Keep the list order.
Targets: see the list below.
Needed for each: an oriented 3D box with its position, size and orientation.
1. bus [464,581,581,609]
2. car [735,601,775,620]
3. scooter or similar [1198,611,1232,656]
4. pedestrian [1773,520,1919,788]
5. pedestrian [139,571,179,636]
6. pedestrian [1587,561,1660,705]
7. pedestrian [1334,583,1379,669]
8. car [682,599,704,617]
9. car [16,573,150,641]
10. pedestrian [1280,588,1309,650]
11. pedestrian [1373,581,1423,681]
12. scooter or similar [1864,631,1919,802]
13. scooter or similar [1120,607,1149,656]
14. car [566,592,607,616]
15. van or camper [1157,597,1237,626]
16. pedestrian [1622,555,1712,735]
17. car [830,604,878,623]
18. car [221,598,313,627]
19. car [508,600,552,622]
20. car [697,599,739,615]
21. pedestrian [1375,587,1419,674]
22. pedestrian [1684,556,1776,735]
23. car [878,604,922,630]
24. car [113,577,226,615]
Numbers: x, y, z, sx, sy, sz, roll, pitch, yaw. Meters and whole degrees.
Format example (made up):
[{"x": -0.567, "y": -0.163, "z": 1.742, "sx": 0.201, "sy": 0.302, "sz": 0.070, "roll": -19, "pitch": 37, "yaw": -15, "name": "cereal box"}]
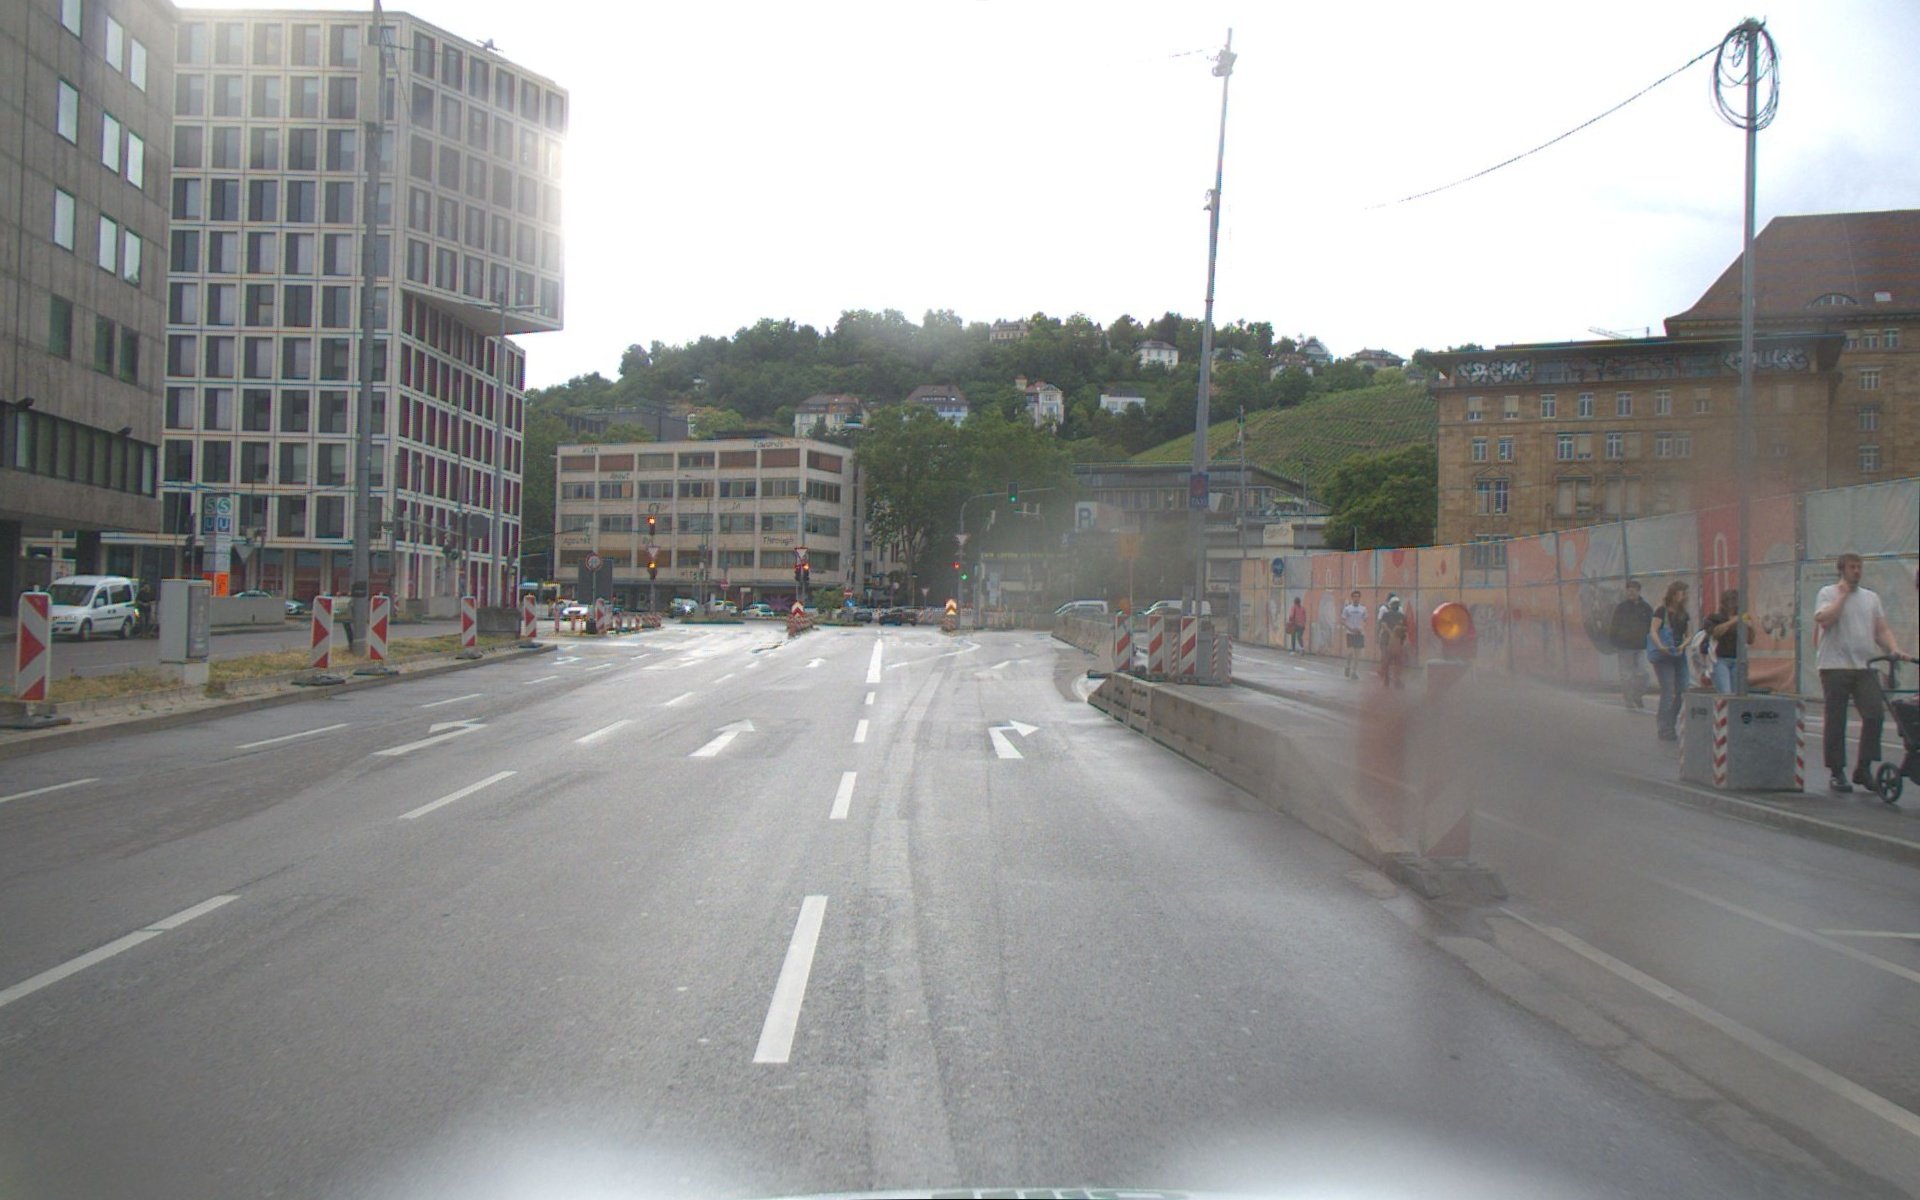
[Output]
[{"x": -46.637, "y": -0.543, "z": 175.964, "sx": 13.668, "sy": 2.799, "sz": 3.206, "roll": 1, "pitch": 0, "yaw": 29, "name": "bus"}, {"x": -19.130, "y": 0.972, "z": 154.267, "sx": 1.786, "sy": 1.720, "sz": 3.937, "roll": 1, "pitch": 0, "yaw": -44, "name": "car"}, {"x": 6.976, "y": 0.907, "z": 45.250, "sx": 0.459, "sy": 1.204, "sz": 1.411, "roll": 1, "pitch": 0, "yaw": -11, "name": "scooter or similar"}, {"x": 7.144, "y": 0.414, "z": 13.226, "sx": 0.786, "sy": 2.052, "sz": 0.972, "roll": 1, "pitch": 0, "yaw": 0, "name": "pedestrian"}, {"x": -23.776, "y": 0.096, "z": 49.078, "sx": 0.677, "sy": 1.919, "sz": 0.796, "roll": 1, "pitch": 0, "yaw": 19, "name": "pedestrian"}, {"x": 9.008, "y": 0.441, "z": 22.463, "sx": 0.670, "sy": 1.922, "sz": 0.693, "roll": 1, "pitch": 0, "yaw": -4, "name": "pedestrian"}, {"x": 8.328, "y": 0.533, "z": 34.734, "sx": 0.670, "sy": 1.771, "sz": 0.907, "roll": 1, "pitch": 0, "yaw": -3, "name": "pedestrian"}, {"x": -23.588, "y": 0.671, "z": 146.107, "sx": 1.797, "sy": 1.512, "sz": 3.990, "roll": 1, "pitch": 0, "yaw": -10, "name": "car"}, {"x": -24.473, "y": 0.178, "z": 46.325, "sx": 1.739, "sy": 1.793, "sz": 4.367, "roll": 1, "pitch": 0, "yaw": -5, "name": "car"}, {"x": 10.342, "y": 0.596, "z": 51.168, "sx": 0.705, "sy": 1.899, "sz": 0.709, "roll": 1, "pitch": 0, "yaw": -3, "name": "pedestrian"}, {"x": 7.916, "y": 0.546, "z": 29.918, "sx": 0.629, "sy": 1.771, "sz": 0.837, "roll": 1, "pitch": 0, "yaw": -3, "name": "pedestrian"}, {"x": 7.277, "y": 0.855, "z": 12.179, "sx": 0.651, "sy": 1.219, "sz": 1.044, "roll": 1, "pitch": 0, "yaw": 0, "name": "scooter or similar"}, {"x": 4.579, "y": 0.814, "z": 43.506, "sx": 0.660, "sy": 1.236, "sz": 1.572, "roll": 1, "pitch": 0, "yaw": 3, "name": "scooter or similar"}, {"x": -28.094, "y": 0.323, "z": 124.553, "sx": 2.178, "sy": 1.784, "sz": 4.810, "roll": 0, "pitch": -1, "yaw": -3, "name": "car"}, {"x": 16.057, "y": 0.782, "z": 112.166, "sx": 5.092, "sy": 1.927, "sz": 1.886, "roll": 1, "pitch": 0, "yaw": -4, "name": "van or camper"}, {"x": 7.728, "y": 0.483, "z": 18.098, "sx": 0.669, "sy": 1.922, "sz": 0.693, "roll": 1, "pitch": 0, "yaw": 0, "name": "pedestrian"}, {"x": -9.241, "y": 1.157, "z": 143.991, "sx": 3.994, "sy": 1.518, "sz": 1.730, "roll": 1, "pitch": 0, "yaw": 35, "name": "car"}, {"x": -40.558, "y": 0.727, "z": 96.802, "sx": 4.549, "sy": 1.626, "sz": 2.020, "roll": 1, "pitch": 0, "yaw": 7, "name": "car"}, {"x": -38.080, "y": 0.936, "z": 146.397, "sx": 3.923, "sy": 1.847, "sz": 1.797, "roll": 1, "pitch": 0, "yaw": 38, "name": "car"}, {"x": -23.846, "y": 0.722, "z": 162.915, "sx": 3.992, "sy": 1.518, "sz": 1.731, "roll": 1, "pitch": 0, "yaw": 33, "name": "car"}, {"x": 9.718, "y": 0.679, "z": 36.811, "sx": 0.689, "sy": 1.899, "sz": 0.990, "roll": 1, "pitch": 0, "yaw": -1, "name": "pedestrian"}, {"x": 8.444, "y": 0.489, "z": 18.164, "sx": 0.669, "sy": 1.922, "sz": 0.693, "roll": 1, "pitch": 0, "yaw": 0, "name": "pedestrian"}, {"x": -4.815, "y": 1.355, "z": 132.559, "sx": 1.972, "sy": 2.049, "sz": 3.961, "roll": 1, "pitch": 0, "yaw": -29, "name": "car"}, {"x": -41.590, "y": -0.208, "z": 87.107, "sx": 4.961, "sy": 1.938, "sz": 2.089, "roll": 1, "pitch": 0, "yaw": 5, "name": "car"}]
